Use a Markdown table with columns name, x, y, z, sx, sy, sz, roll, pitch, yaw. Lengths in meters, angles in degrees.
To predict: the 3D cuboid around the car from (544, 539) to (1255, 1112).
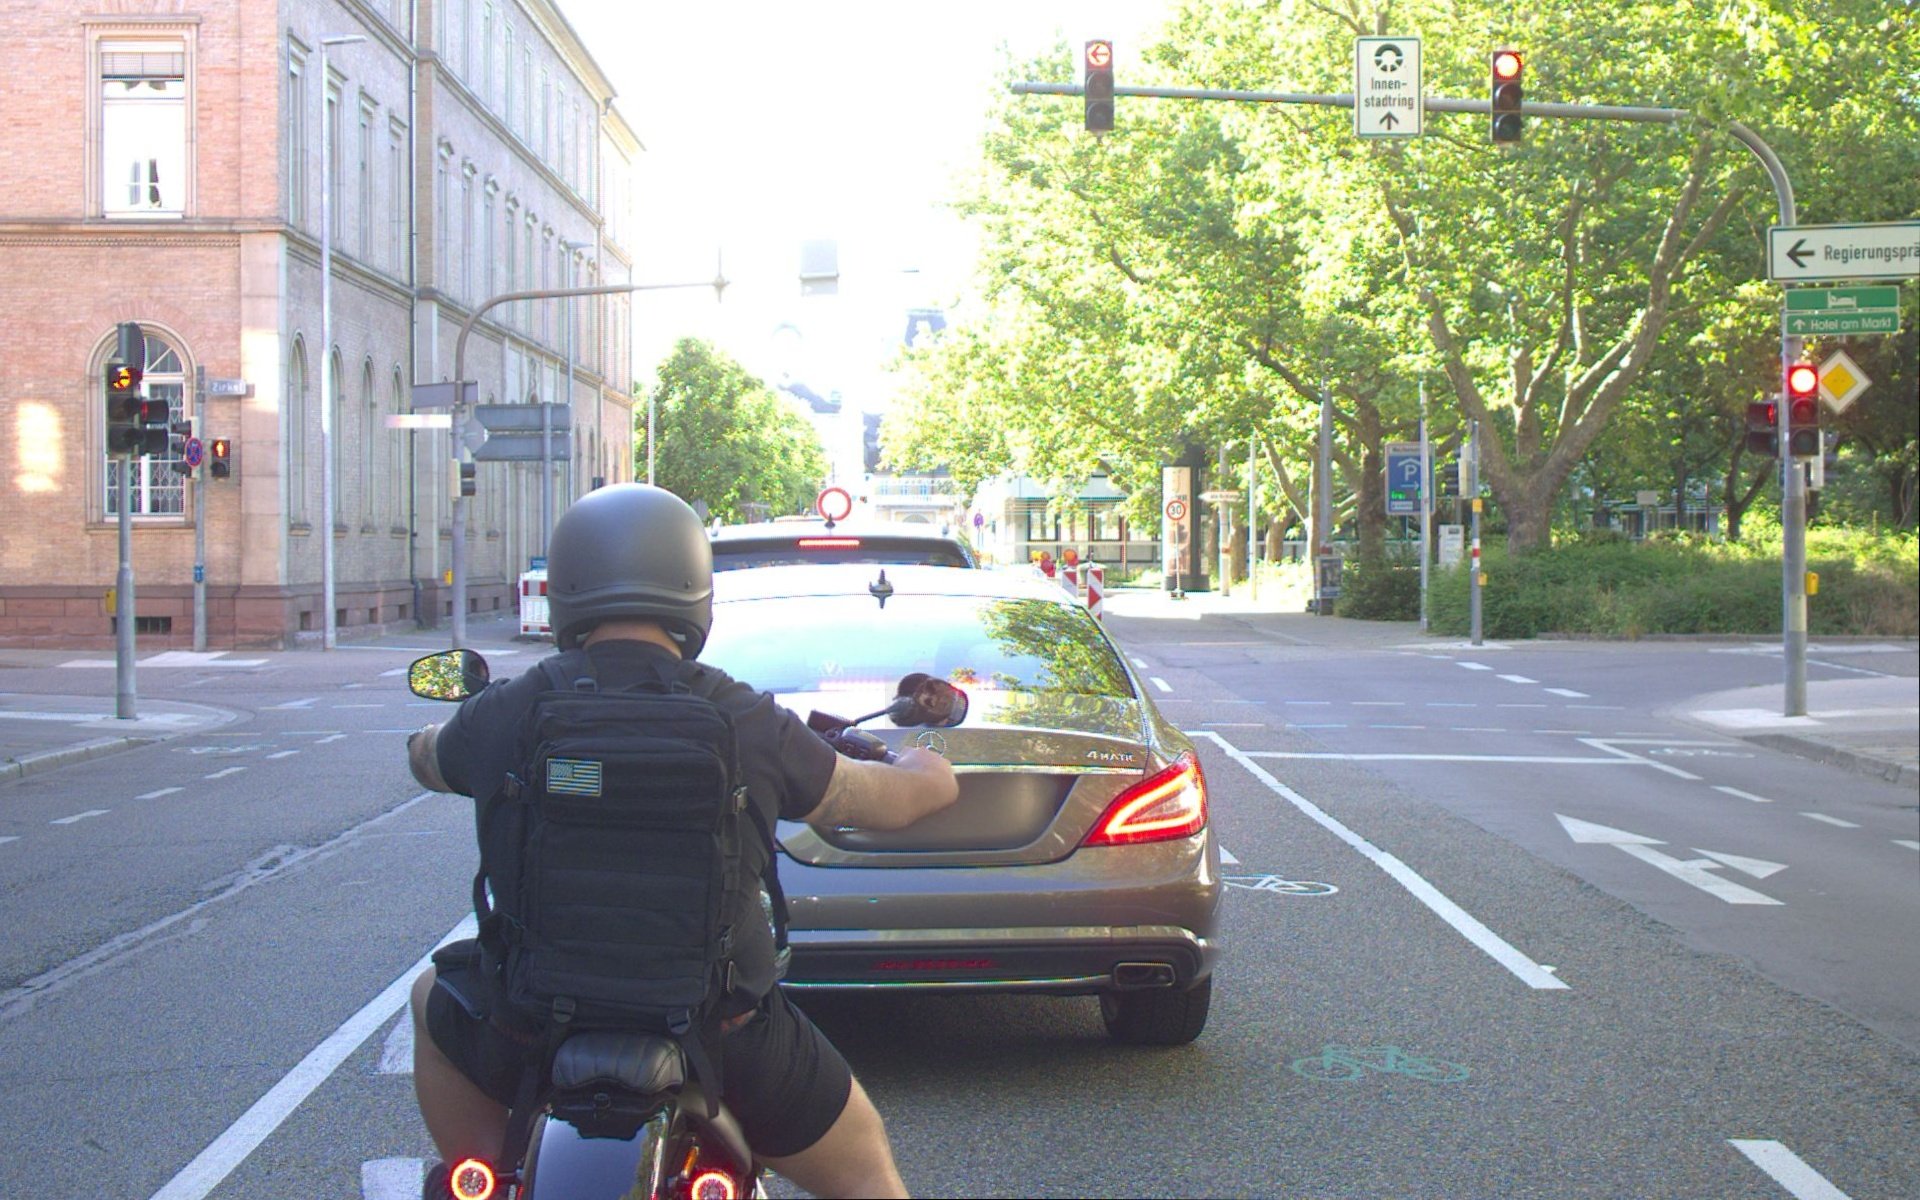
| name | x | y | z | sx | sy | sz | roll | pitch | yaw |
| --- | --- | --- | --- | --- | --- | --- | --- | --- | --- |
| car | -0.407 | 0.568 | 11.138 | 1.824 | 1.481 | 4.334 | 1 | 1 | -7 |

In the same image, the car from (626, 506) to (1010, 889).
| name | x | y | z | sx | sy | sz | roll | pitch | yaw |
| --- | --- | --- | --- | --- | --- | --- | --- | --- | --- |
| car | -0.638 | 0.404 | 16.984 | 1.651 | 1.646 | 4.000 | 1 | 1 | -1 |

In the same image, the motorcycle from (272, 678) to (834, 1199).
| name | x | y | z | sx | sy | sz | roll | pitch | yaw |
| --- | --- | --- | --- | --- | --- | --- | --- | --- | --- |
| motorcycle | -0.563 | 0.778 | 5.433 | 0.660 | 1.236 | 2.058 | 1 | 1 | -1 |

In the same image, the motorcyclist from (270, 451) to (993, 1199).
| name | x | y | z | sx | sy | sz | roll | pitch | yaw |
| --- | --- | --- | --- | --- | --- | --- | --- | --- | --- |
| motorcyclist | -0.466 | 0.596 | 5.338 | 0.990 | 1.605 | 1.120 | 1 | 0 | -1 |
